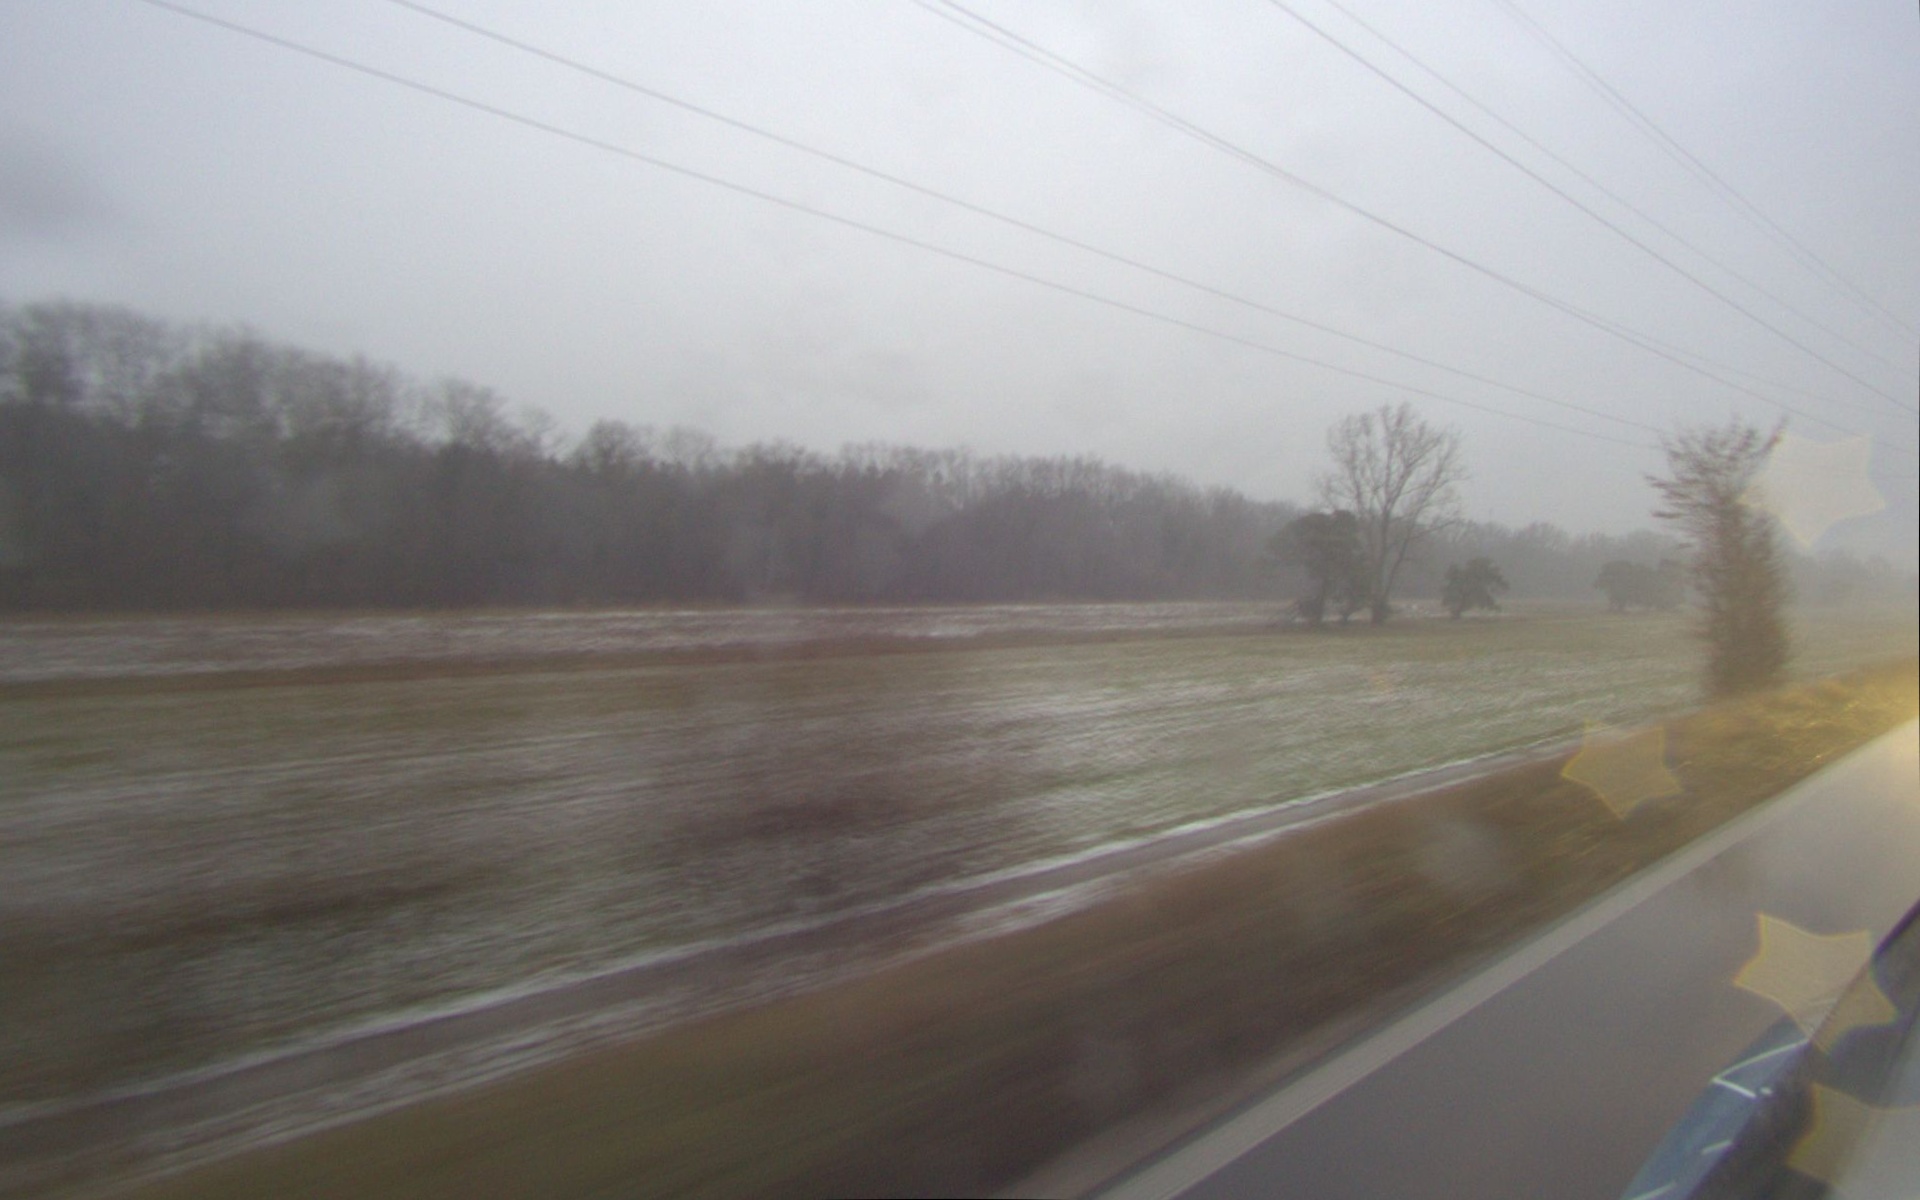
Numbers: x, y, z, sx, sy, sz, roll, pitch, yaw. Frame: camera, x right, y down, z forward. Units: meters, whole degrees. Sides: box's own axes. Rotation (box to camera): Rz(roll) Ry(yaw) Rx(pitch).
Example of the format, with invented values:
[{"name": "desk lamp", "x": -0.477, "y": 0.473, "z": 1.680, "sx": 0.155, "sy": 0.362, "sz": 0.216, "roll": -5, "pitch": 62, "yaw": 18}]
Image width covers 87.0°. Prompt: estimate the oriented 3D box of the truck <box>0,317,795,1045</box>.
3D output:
[{"name": "truck", "x": -5.691, "y": 0.291, "z": 3.238, "sx": 10.623, "sy": 2.603, "sz": 2.506, "roll": 0, "pitch": 1, "yaw": -43}]
